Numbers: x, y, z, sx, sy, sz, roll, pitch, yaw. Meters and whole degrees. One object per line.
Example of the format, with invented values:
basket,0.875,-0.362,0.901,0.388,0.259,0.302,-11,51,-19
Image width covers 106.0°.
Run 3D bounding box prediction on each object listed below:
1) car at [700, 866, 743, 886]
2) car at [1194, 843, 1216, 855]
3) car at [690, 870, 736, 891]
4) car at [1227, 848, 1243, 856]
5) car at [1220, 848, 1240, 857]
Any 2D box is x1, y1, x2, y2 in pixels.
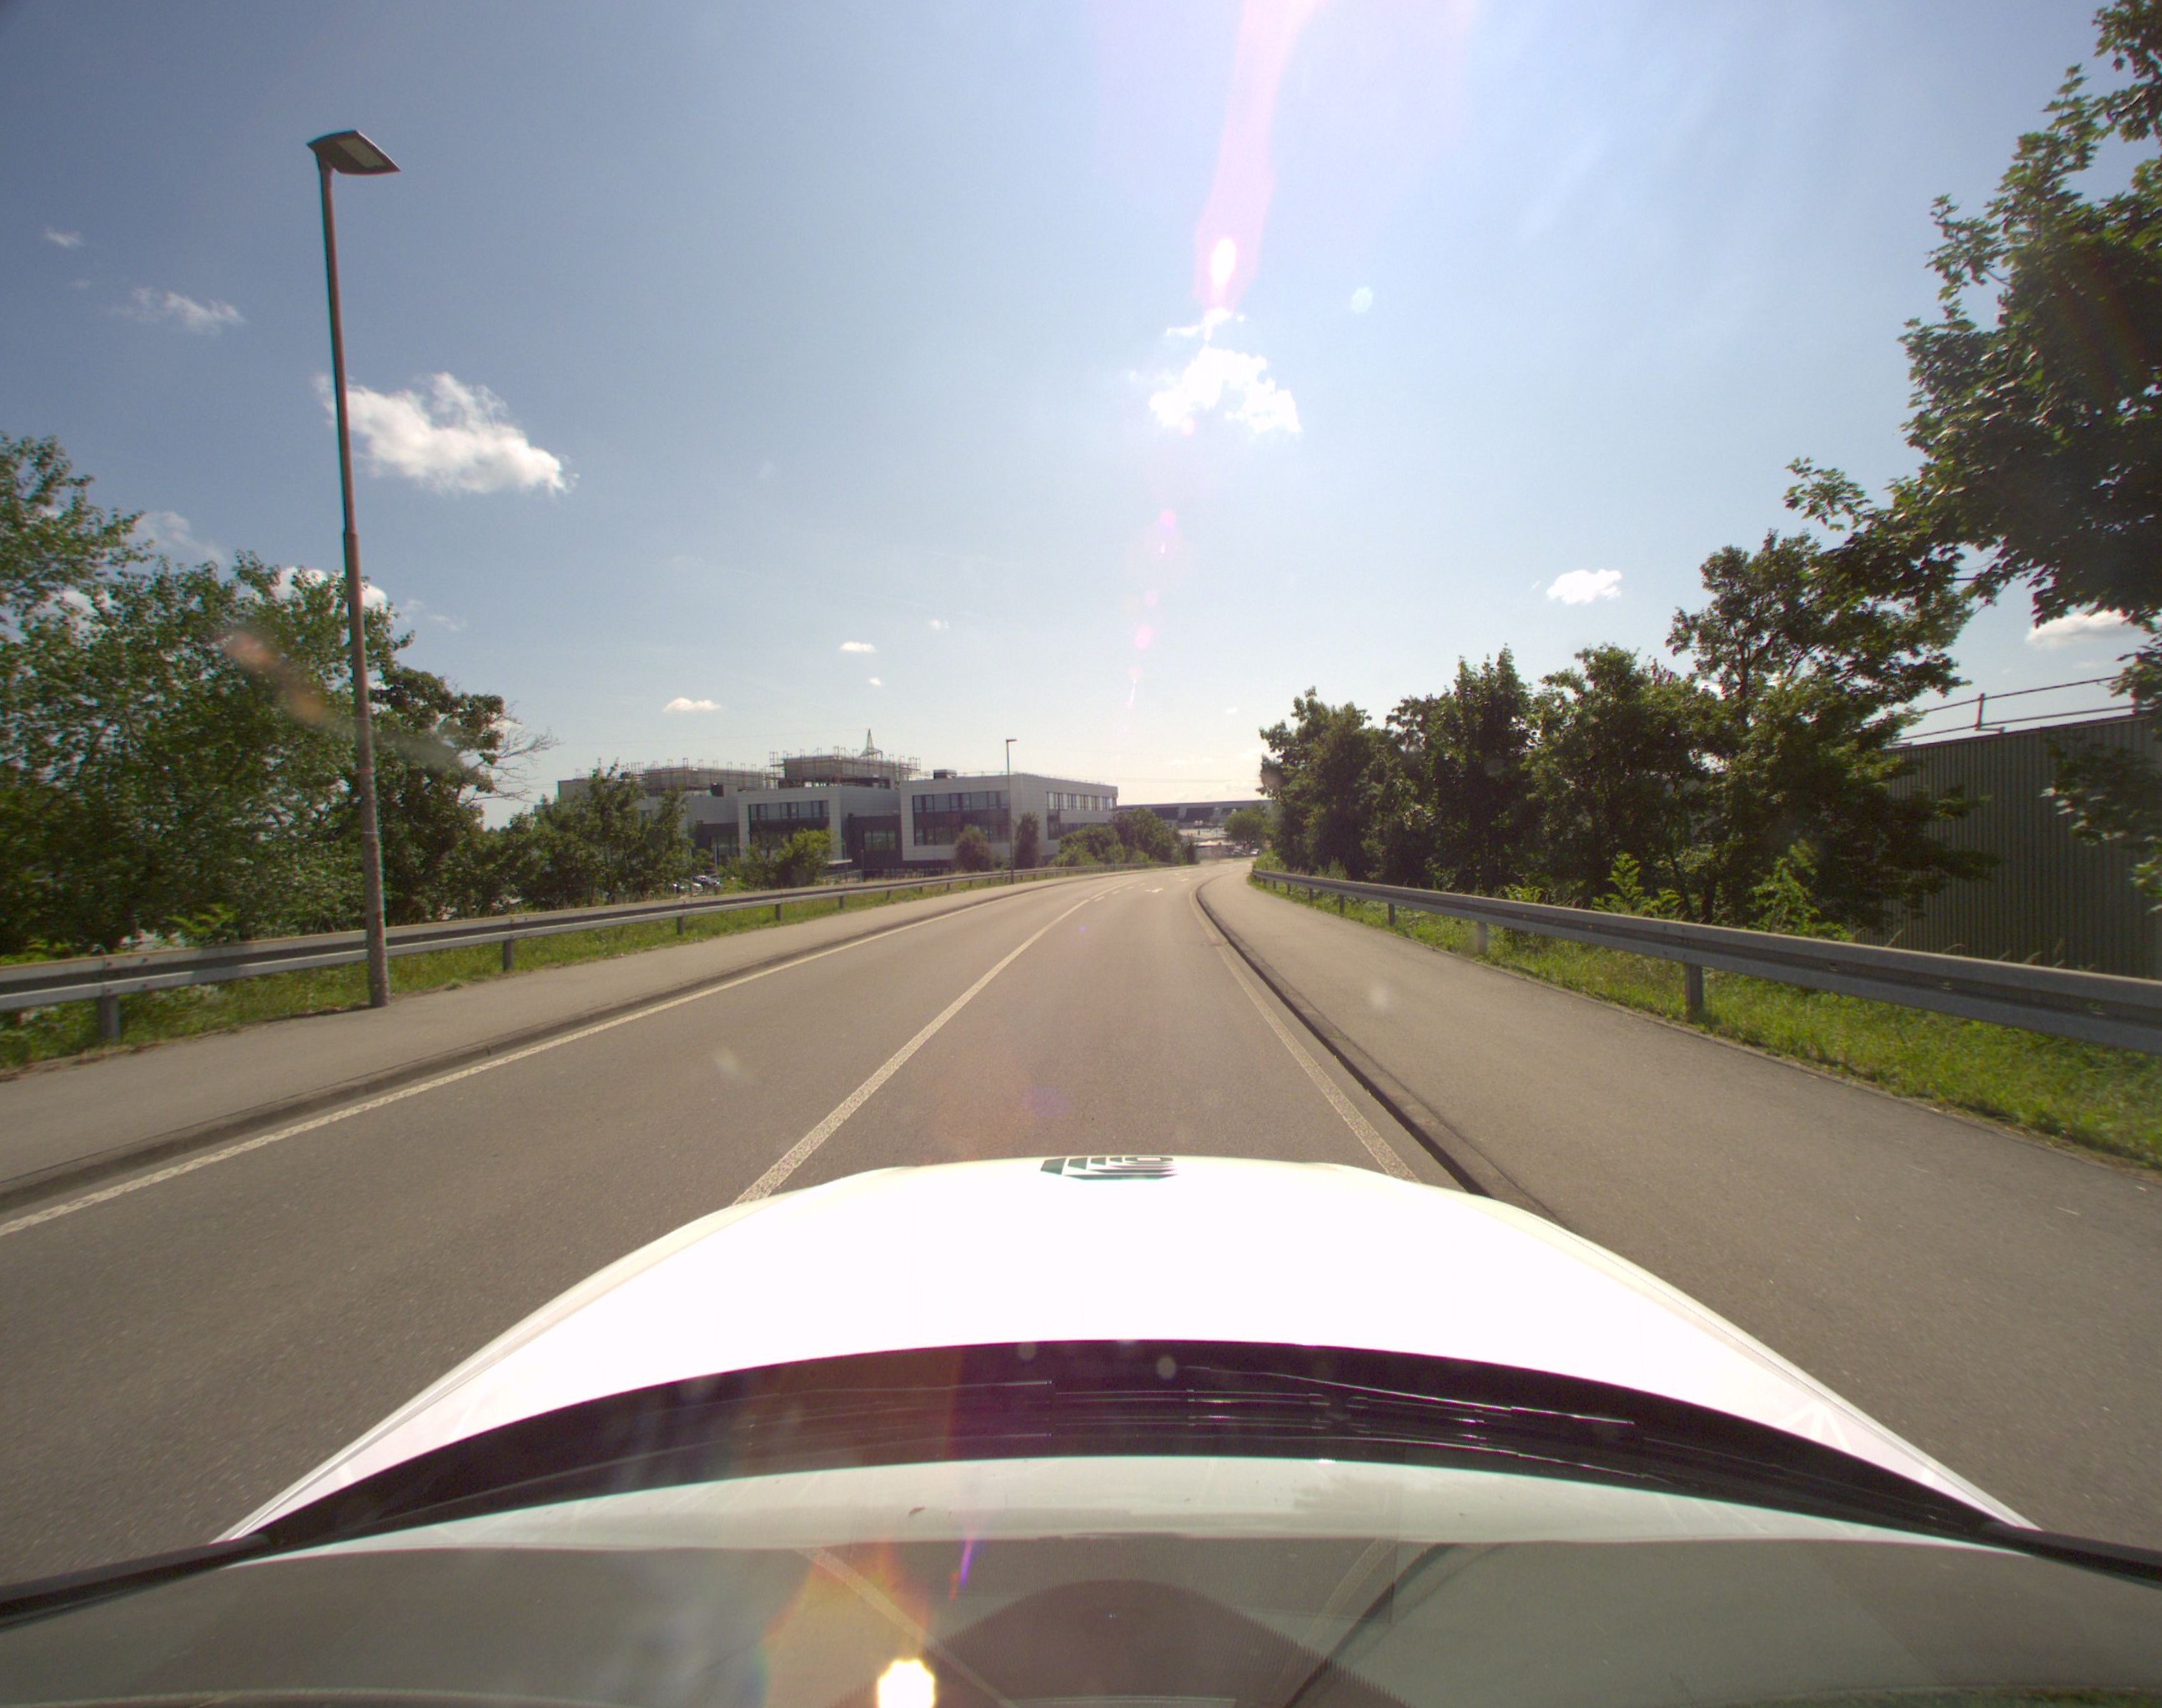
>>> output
car,-41.343,2.532,93.645,3.978,2.013,1.998,-1,2,-3
car,27.008,-1.142,177.463,2.011,2.608,4.313,-1,0,-42
car,-39.704,2.836,87.920,3.978,2.013,1.998,-1,2,-3
car,40.391,-0.527,213.218,3.963,1.850,1.839,-1,1,9
car,33.344,-0.411,182.080,2.012,1.903,3.952,-3,3,-43
